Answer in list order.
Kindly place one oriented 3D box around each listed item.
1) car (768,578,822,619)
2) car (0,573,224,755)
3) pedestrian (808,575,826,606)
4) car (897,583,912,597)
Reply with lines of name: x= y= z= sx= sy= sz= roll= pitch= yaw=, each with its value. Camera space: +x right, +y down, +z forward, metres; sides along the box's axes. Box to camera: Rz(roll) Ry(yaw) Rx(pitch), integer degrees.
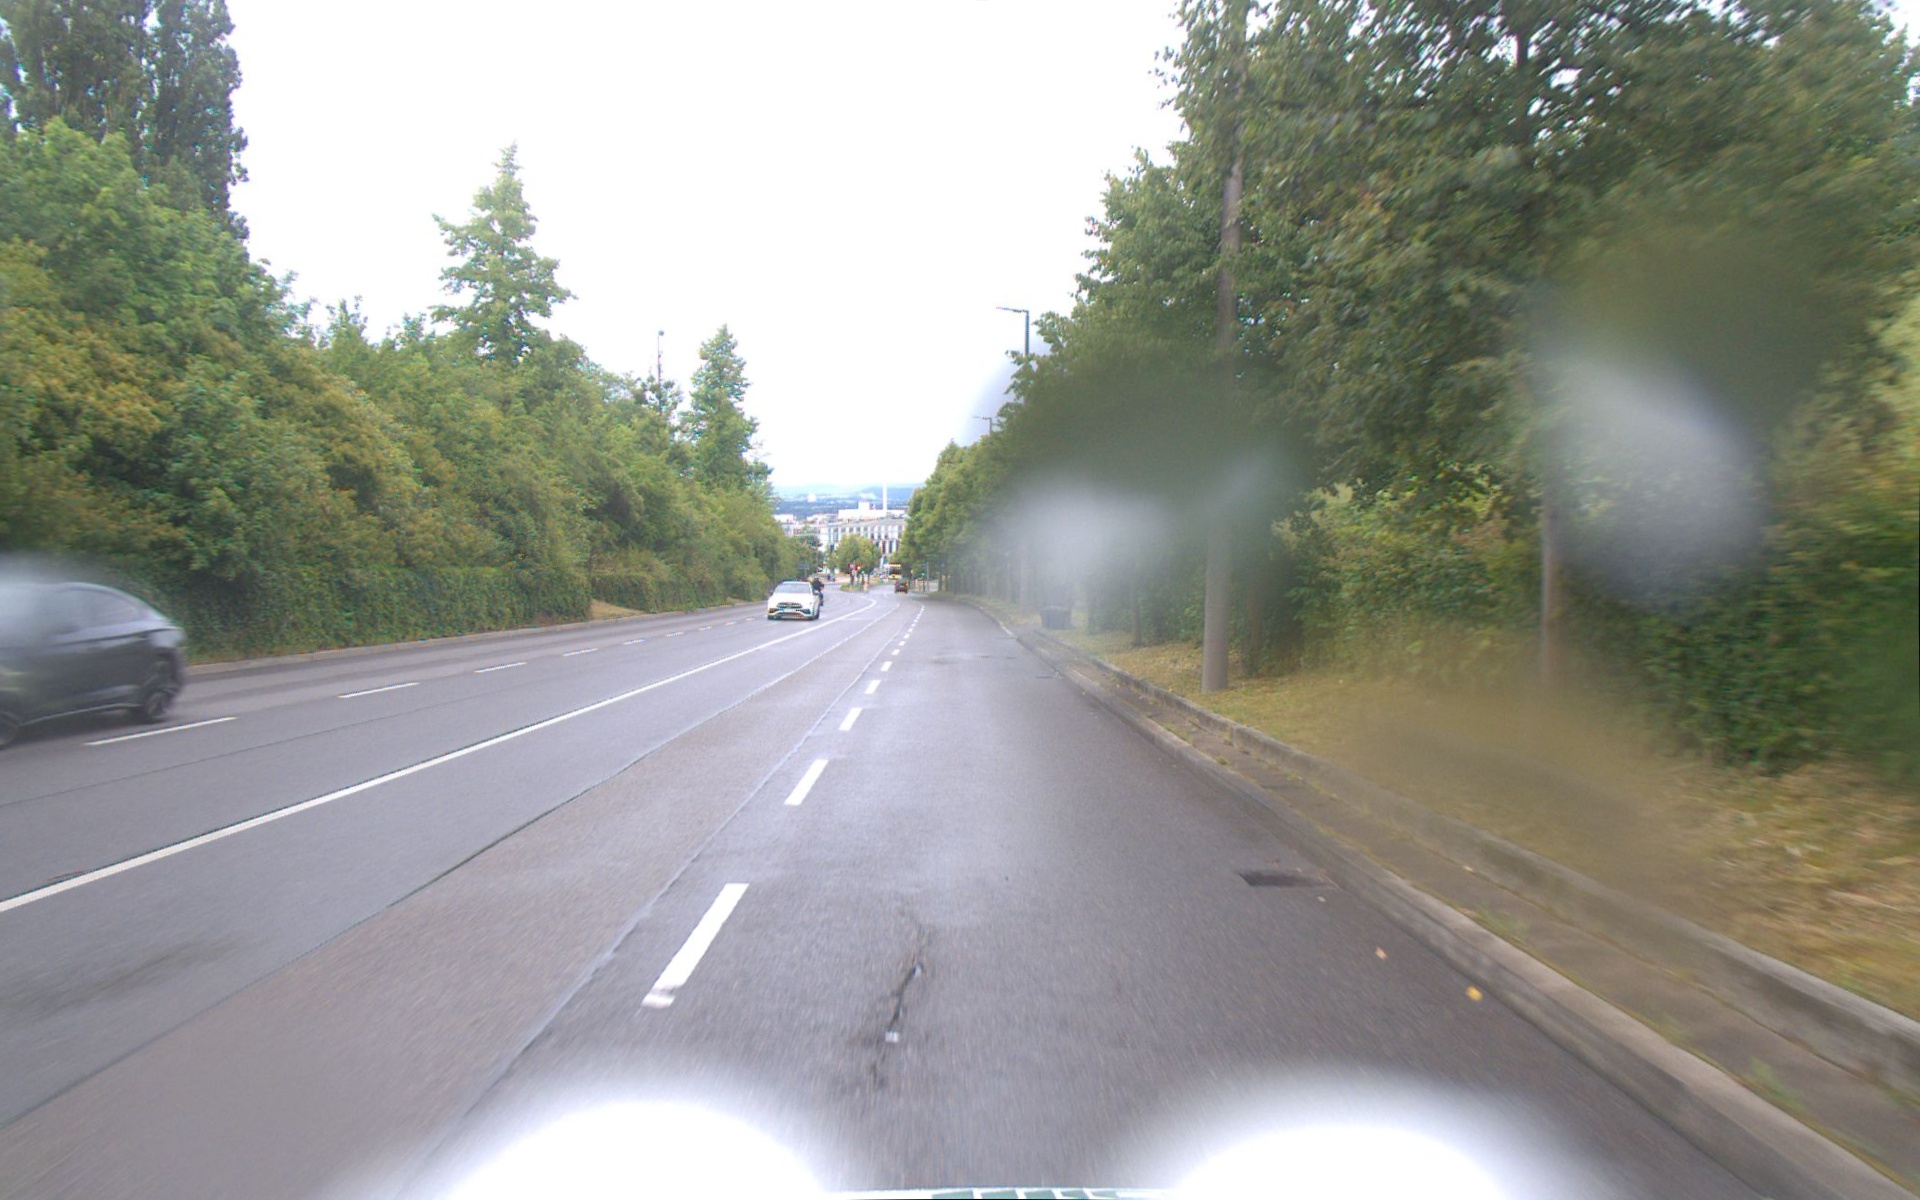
car: x=-6.529 y=-0.083 z=65.801 sx=1.680 sy=1.531 sz=4.516 roll=2 pitch=1 yaw=-1
car: x=-8.640 y=0.491 z=15.071 sx=1.724 sy=1.405 sz=4.837 roll=2 pitch=1 yaw=-1
pedestrian: x=-7.195 y=-0.473 z=83.057 sx=0.789 sy=1.568 sz=1.111 roll=1 pitch=0 yaw=-1
car: x=-7.262 y=-1.308 z=216.820 sx=1.812 sy=1.731 sz=3.790 roll=2 pitch=-1 yaw=-3
